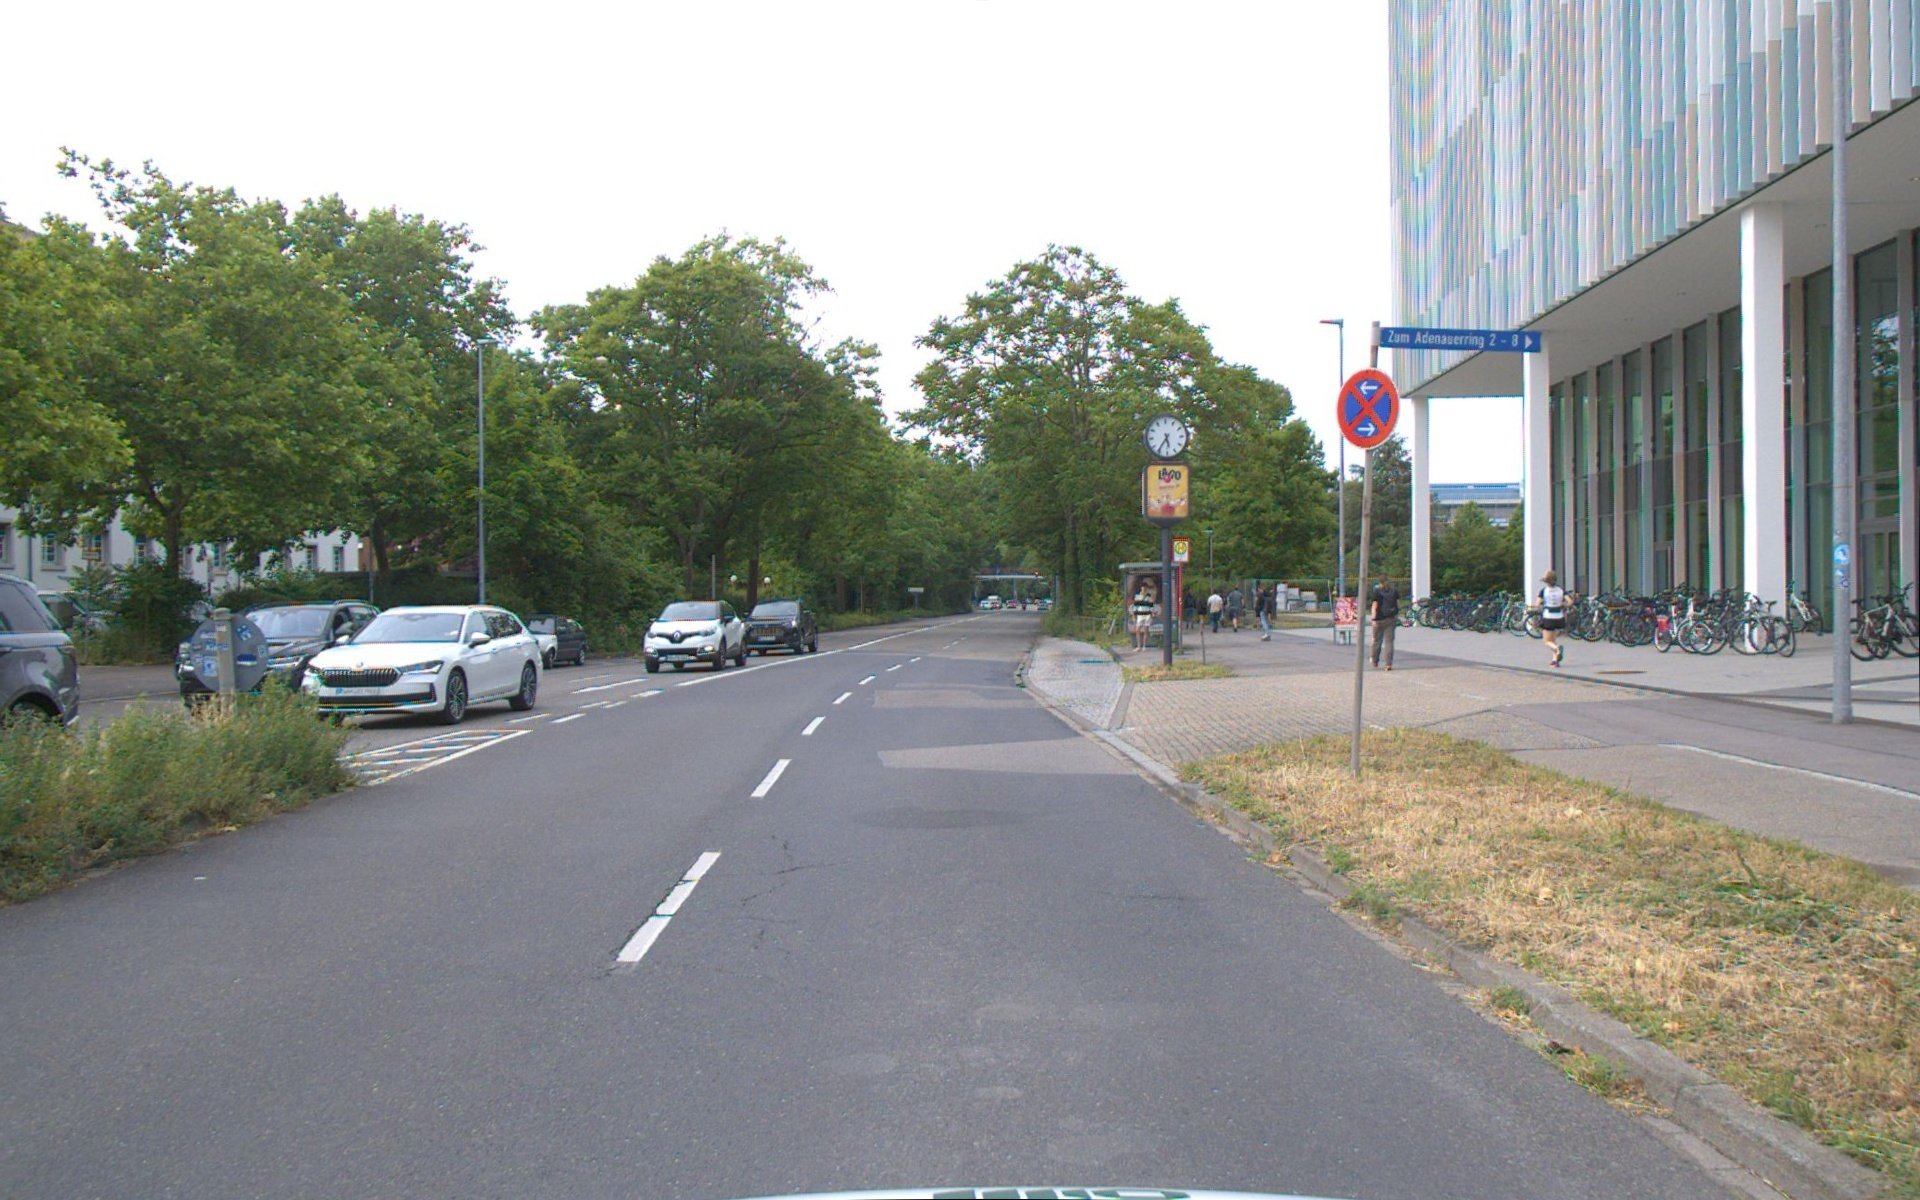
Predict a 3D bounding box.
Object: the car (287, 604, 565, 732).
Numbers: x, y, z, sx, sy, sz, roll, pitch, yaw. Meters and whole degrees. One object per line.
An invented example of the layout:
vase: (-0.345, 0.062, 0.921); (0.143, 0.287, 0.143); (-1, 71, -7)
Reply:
car: (-6.961, 0.813, 22.187); (1.864, 1.491, 4.913); (1, 0, 3)

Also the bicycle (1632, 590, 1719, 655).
bicycle: (13.649, 0.425, 31.614); (0.623, 1.160, 2.200); (-4, 0, -1)

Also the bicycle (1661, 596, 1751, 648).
bicycle: (15.391, 0.455, 34.162); (1.572, 0.952, 0.569); (-4, 0, 14)

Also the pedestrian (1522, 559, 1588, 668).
pedestrian: (10.426, 0.240, 29.005); (0.825, 1.868, 0.894); (-1, 0, 2)

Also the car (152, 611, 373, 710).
car: (-12.785, 1.055, 30.660); (1.819, 1.636, 4.595); (1, 0, 5)

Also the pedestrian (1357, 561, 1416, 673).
pedestrian: (8.011, 0.317, 31.095); (0.825, 2.049, 0.895); (-3, -1, 5)

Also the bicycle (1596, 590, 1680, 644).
bicycle: (15.268, 0.391, 37.274); (1.609, 1.110, 0.573); (-4, -1, 12)

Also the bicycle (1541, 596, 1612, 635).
bicycle: (16.138, 0.404, 43.316); (1.655, 0.963, 0.517); (-1, 0, 10)

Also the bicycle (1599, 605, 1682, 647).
bicycle: (14.937, 0.570, 36.305); (1.572, 0.890, 0.556); (-1, 0, 4)

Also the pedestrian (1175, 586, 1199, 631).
pedestrian: (10.530, 0.376, 76.814); (0.906, 2.049, 1.039); (-1, 0, -1)

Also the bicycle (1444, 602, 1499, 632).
bicycle: (16.357, 0.537, 52.909); (1.572, 0.890, 0.556); (-2, 0, 4)

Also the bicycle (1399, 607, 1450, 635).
bicycle: (15.910, 0.725, 56.694); (1.572, 0.890, 0.556); (-2, 0, 4)

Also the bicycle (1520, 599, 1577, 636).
bicycle: (15.007, 0.443, 42.182); (1.256, 0.890, 0.556); (-2, 0, 4)

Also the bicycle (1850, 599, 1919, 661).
bicycle: (15.059, 0.475, 26.897); (1.472, 0.945, 0.435); (-2, 1, -36)

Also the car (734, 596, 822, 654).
car: (-5.413, 0.735, 49.594); (1.863, 1.621, 4.518); (-1, 0, 3)

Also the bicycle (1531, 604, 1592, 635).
bicycle: (15.984, 0.513, 43.938); (1.404, 0.759, 0.556); (-2, 0, 4)

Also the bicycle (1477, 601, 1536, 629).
bicycle: (15.794, 0.434, 47.804); (1.527, 0.729, 0.556); (-2, 0, 4)

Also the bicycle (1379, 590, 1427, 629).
bicycle: (16.184, 0.349, 60.464); (1.612, 1.356, 0.463); (-4, -1, 16)

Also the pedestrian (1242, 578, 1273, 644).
pedestrian: (9.386, 0.346, 52.182); (0.825, 2.049, 0.895); (-1, 0, 5)

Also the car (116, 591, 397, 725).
car: (-10.047, 0.775, 24.065); (1.952, 1.723, 4.470); (-1, 0, 3)

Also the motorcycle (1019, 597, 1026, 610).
motorcycle: (9.517, 0.557, 251.374); (0.969, 1.970, 2.670); (1, 0, 3)

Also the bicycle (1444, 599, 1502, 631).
bicycle: (15.616, 0.452, 50.336); (1.572, 0.890, 0.556); (-2, 0, 4)

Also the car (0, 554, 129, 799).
car: (-7.770, 0.527, 10.722); (1.951, 1.717, 4.950); (0, 0, 5)

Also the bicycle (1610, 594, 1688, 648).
bicycle: (14.643, 0.442, 35.153); (1.371, 1.062, 0.559); (-3, -1, 4)

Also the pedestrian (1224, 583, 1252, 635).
pedestrian: (11.167, 0.343, 66.394); (0.906, 2.049, 1.039); (-1, 0, -1)

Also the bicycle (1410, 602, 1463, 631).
bicycle: (15.763, 0.535, 54.748); (1.572, 0.890, 0.556); (-2, -1, 4)

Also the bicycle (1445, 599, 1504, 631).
bicycle: (15.335, 0.448, 49.308); (1.572, 0.890, 0.556); (-2, 0, 4)

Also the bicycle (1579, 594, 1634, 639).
bicycle: (16.015, 0.409, 40.997); (1.172, 1.068, 0.435); (-2, -1, 10)

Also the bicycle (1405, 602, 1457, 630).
bicycle: (15.861, 0.531, 55.738); (1.572, 0.890, 0.556); (-2, 0, 4)

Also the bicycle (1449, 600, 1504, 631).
bicycle: (15.144, 0.445, 48.544); (1.424, 0.853, 0.556); (-2, 0, 4)

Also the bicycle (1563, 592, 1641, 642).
bicycle: (15.506, 0.417, 39.989); (1.609, 1.121, 0.573); (-3, -1, 7)

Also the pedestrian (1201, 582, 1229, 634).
pedestrian: (10.280, 0.318, 66.624); (0.906, 2.049, 1.039); (-1, 0, -1)

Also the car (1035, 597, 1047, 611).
car: (12.114, 0.603, 247.520); (1.805, 2.049, 4.002); (1, 0, 3)

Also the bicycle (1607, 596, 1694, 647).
bicycle: (14.902, 0.467, 35.708); (1.573, 0.999, 0.556); (-4, -1, 4)

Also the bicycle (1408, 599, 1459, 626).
bicycle: (16.461, 0.429, 57.520); (1.573, 0.890, 0.556); (-1, 0, -1)

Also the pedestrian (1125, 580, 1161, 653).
pedestrian: (5.329, 0.474, 48.129); (0.893, 2.048, 0.854); (-3, 1, 2)

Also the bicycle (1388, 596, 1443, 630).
bicycle: (16.157, 0.449, 58.683); (1.757, 1.100, 0.626); (-3, 0, 2)

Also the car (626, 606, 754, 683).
car: (-6.089, 0.963, 37.773); (1.952, 1.574, 4.181); (-2, 0, 3)

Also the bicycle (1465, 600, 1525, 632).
bicycle: (15.289, 0.464, 47.299); (1.500, 0.848, 0.556); (-2, 0, 4)

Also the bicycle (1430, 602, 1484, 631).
bicycle: (16.250, 0.550, 54.107); (1.572, 0.890, 0.556); (-2, 0, 4)

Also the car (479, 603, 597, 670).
car: (-11.267, 0.941, 44.473); (1.952, 1.719, 4.002); (0, 0, 3)

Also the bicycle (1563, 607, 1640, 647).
bicycle: (15.090, 0.640, 38.913); (1.572, 0.890, 0.556); (-1, 0, 4)

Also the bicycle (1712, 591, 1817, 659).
bicycle: (13.973, 0.424, 28.784); (0.596, 1.099, 1.959); (-3, 0, -8)

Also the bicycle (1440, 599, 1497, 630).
bicycle: (15.657, 0.452, 50.919); (1.572, 0.890, 0.556); (-2, 0, 4)

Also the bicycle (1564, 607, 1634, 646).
bicycle: (15.798, 0.650, 40.893); (1.572, 0.912, 0.366); (-1, -1, 4)

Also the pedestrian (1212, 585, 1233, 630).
pedestrian: (12.170, 0.349, 76.719); (0.806, 2.049, 0.720); (-2, -1, 3)

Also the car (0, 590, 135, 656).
car: (-23.720, 0.580, 43.185); (3.511, 1.630, 1.652); (1, 0, 1)

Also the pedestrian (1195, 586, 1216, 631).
pedestrian: (11.314, 0.378, 76.232); (0.807, 2.049, 0.720); (-1, -1, -1)
